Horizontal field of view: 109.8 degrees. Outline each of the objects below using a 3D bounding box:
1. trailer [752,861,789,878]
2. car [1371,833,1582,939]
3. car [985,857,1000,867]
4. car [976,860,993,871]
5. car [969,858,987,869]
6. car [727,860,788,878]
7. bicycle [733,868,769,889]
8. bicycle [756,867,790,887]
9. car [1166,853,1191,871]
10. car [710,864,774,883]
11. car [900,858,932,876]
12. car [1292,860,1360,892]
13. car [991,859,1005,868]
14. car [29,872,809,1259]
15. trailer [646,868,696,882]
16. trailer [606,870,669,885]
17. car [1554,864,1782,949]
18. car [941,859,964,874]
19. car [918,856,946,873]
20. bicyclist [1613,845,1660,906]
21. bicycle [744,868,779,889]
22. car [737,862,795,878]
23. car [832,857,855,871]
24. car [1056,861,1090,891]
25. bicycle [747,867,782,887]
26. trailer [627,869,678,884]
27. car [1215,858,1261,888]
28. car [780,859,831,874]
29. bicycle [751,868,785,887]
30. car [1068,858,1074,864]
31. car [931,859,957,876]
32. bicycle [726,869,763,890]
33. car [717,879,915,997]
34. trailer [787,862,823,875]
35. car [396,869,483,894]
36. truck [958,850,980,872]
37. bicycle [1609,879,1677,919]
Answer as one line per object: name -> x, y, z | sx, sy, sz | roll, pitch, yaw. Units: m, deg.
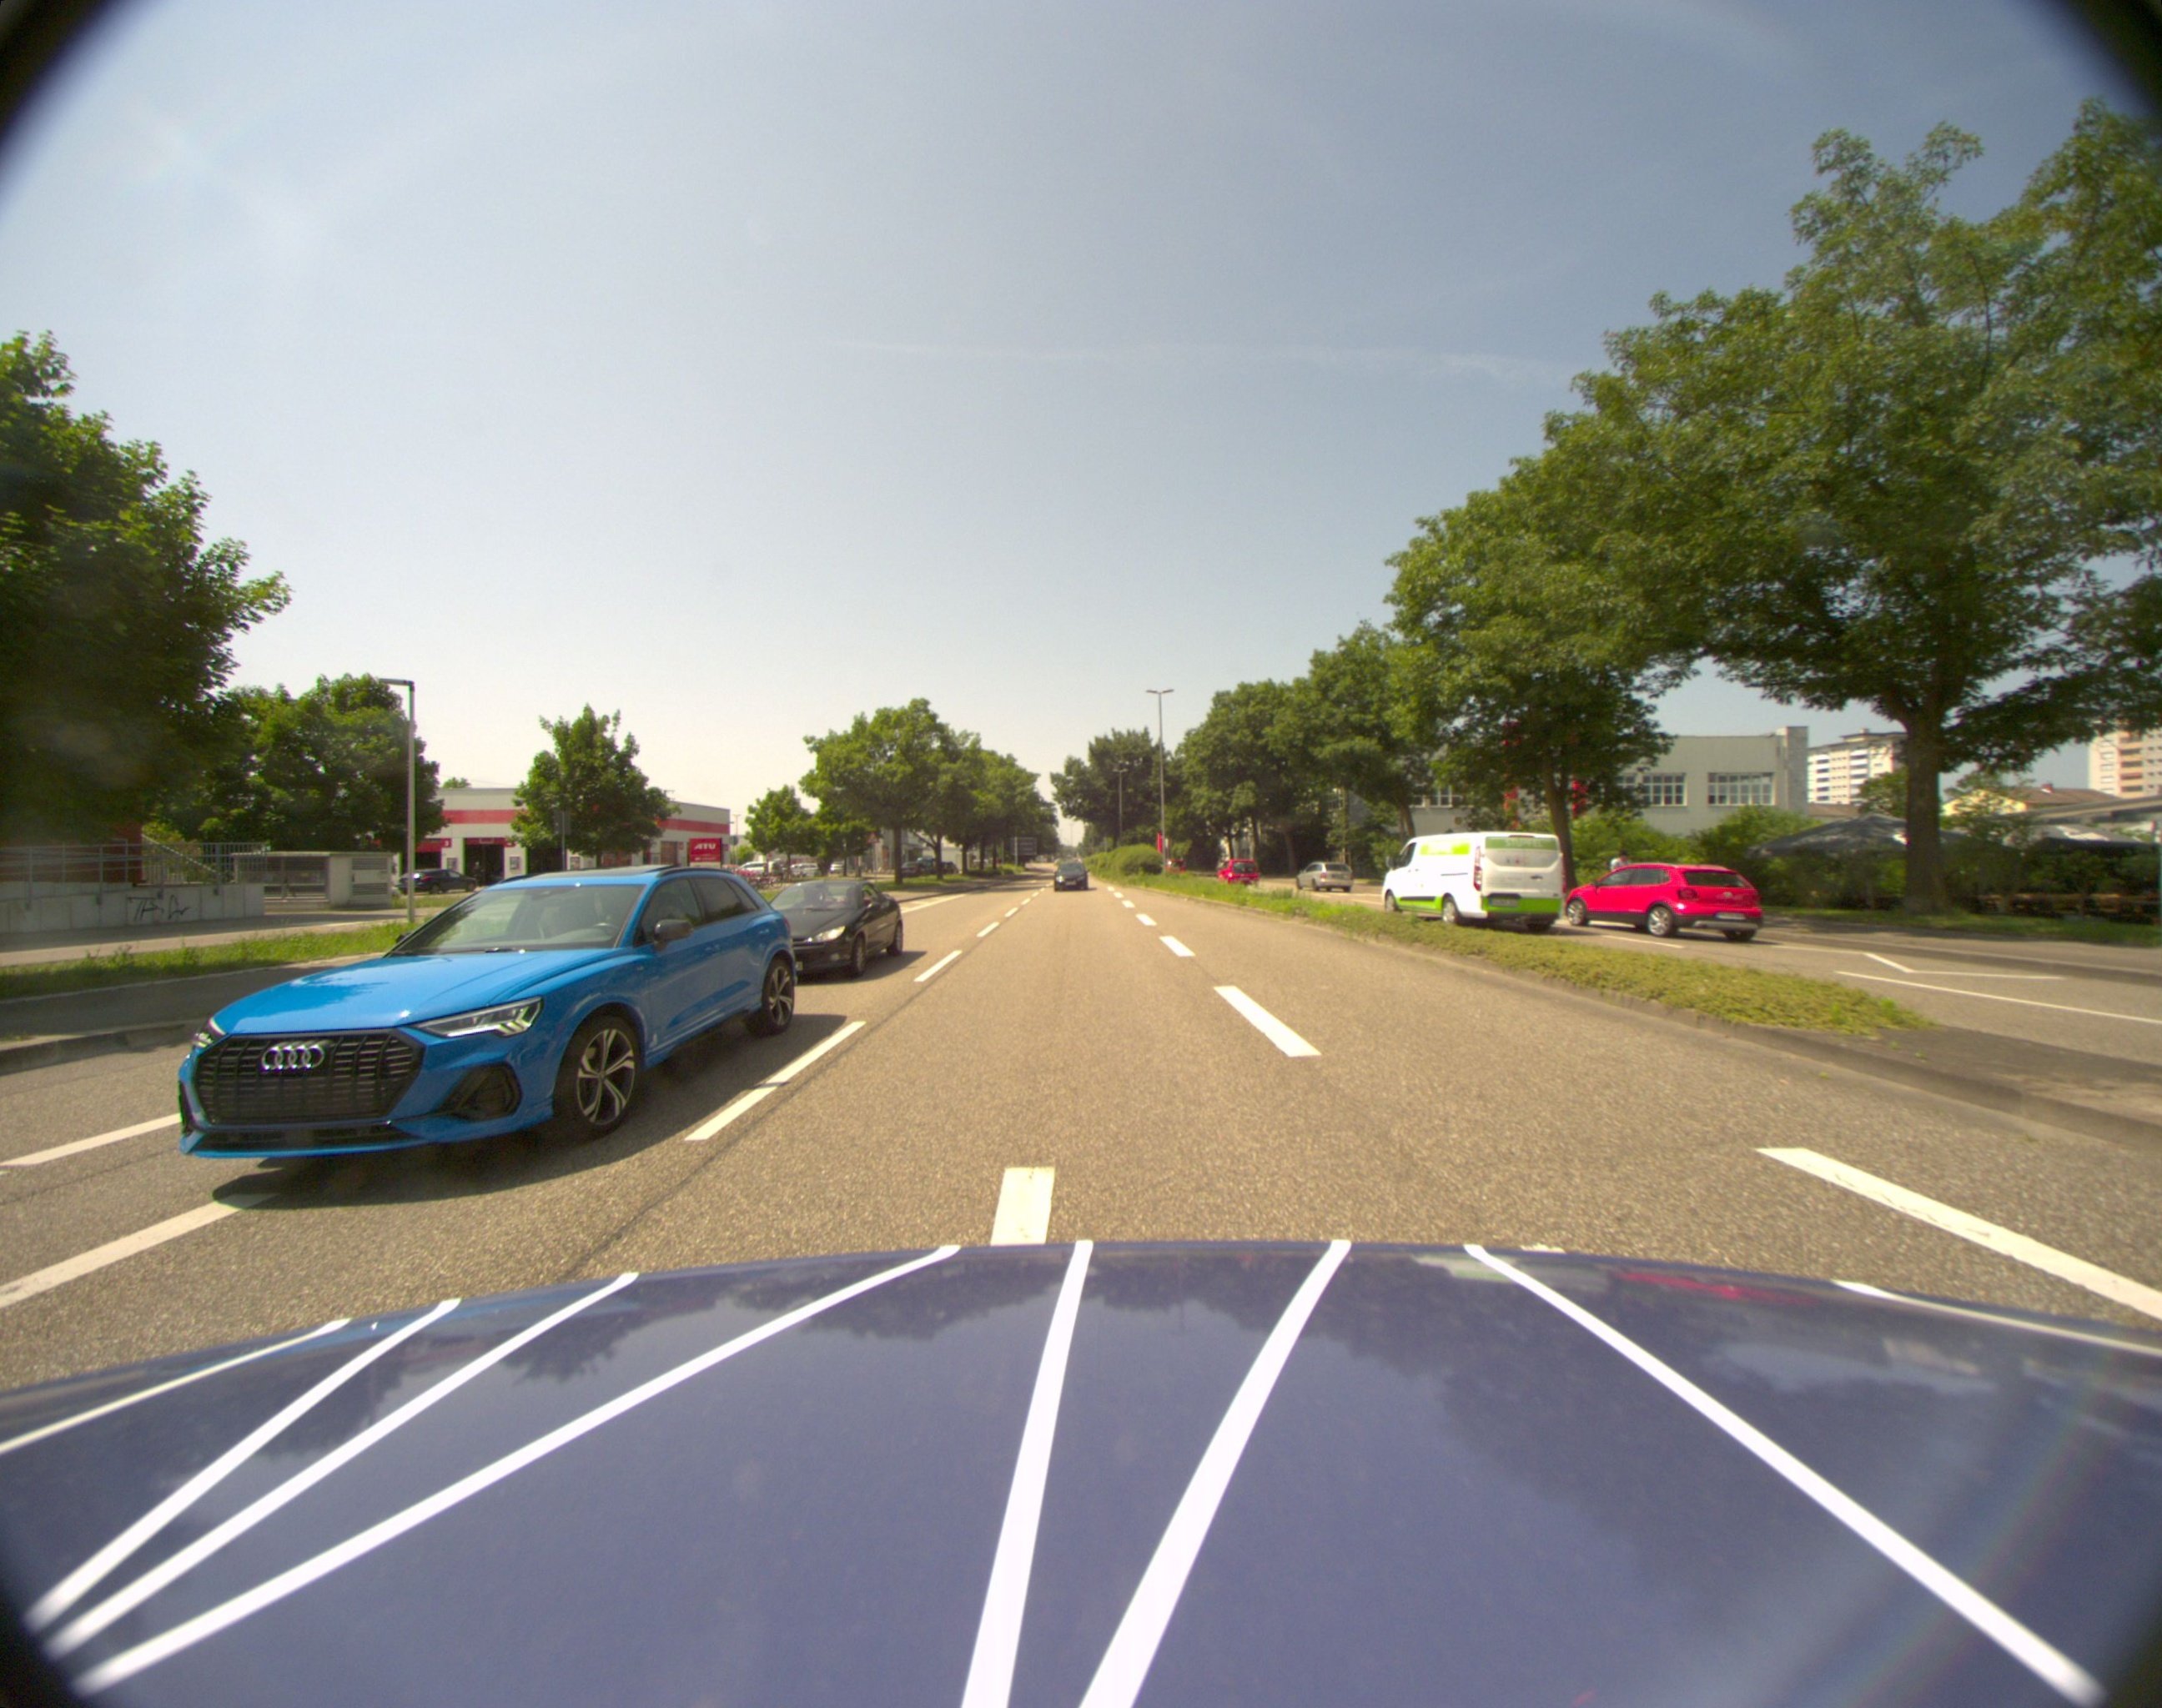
trailer -> -27.274, 1.352, 66.742 | 2.642, 1.518, 1.415 | 0, 0, -2
car -> 8.348, 0.612, 16.690 | 1.999, 1.934, 4.908 | 2, 0, -1
car -> -13.022, 1.186, 111.562 | 1.719, 1.458, 4.000 | 0, 0, 1
car -> -13.175, 1.542, 104.057 | 1.719, 1.458, 4.000 | 0, 0, 1
car -> -13.211, 1.212, 97.294 | 1.719, 1.458, 4.000 | 0, 0, 1
car -> -25.217, 1.152, 59.346 | 3.998, 1.394, 1.747 | 0, 0, -3
bicycle -> -18.423, 1.357, 42.432 | 1.784, 1.117, 0.514 | 0, 0, -6
bicycle -> -18.368, 1.363, 45.368 | 1.784, 1.117, 0.514 | 0, 0, -6
car -> 8.963, 0.757, 69.870 | 1.753, 1.560, 4.153 | 2, 0, 0
car -> -25.447, 1.452, 57.117 | 3.998, 1.394, 1.747 | 0, 0, -2
car -> -13.451, 1.045, 62.153 | 1.642, 1.363, 4.000 | 0, 0, 1
car -> 11.880, 1.024, 37.142 | 1.782, 1.395, 4.359 | 2, 0, -1
car -> -12.902, 1.481, 117.889 | 1.719, 1.458, 4.000 | 0, 0, 1
car -> -3.719, 0.988, 5.573 | 1.842, 1.586, 4.400 | -1, 0, 0
trailer -> -23.879, 1.215, 44.332 | 2.137, 0.757, 1.394 | -1, 0, 2
trailer -> -23.657, 1.250, 40.589 | 2.467, 0.757, 1.449 | -1, 0, 2
car -> 11.908, 0.984, 15.800 | 1.710, 1.444, 3.891 | 2, 0, 0
car -> -13.481, 1.262, 79.729 | 1.719, 1.504, 4.000 | 0, 0, 1
car -> -13.359, 0.910, 68.382 | 1.719, 1.458, 4.000 | 0, 0, 1
bicyclist -> 15.005, 0.572, 20.542 | 0.609, 1.621, 0.923 | 0, 1, 0
bicycle -> -18.150, 1.381, 43.178 | 1.784, 1.117, 0.514 | 0, 0, -6
car -> -25.538, 1.277, 61.715 | 3.998, 1.201, 1.747 | 0, 0, -3
car -> -27.334, 1.119, 87.440 | 1.759, 1.586, 3.998 | 0, 0, -7
car -> -0.395, 1.093, 38.594 | 1.642, 1.395, 4.000 | 0, 0, -1
bicycle -> -18.244, 1.346, 43.818 | 1.784, 1.117, 0.514 | 0, 0, -6
trailer -> -23.937, 1.242, 42.495 | 2.137, 0.757, 1.267 | -1, 0, 2
car -> 8.127, 0.954, 39.596 | 1.584, 1.432, 3.608 | 2, 0, -1
car -> -25.036, 1.157, 69.057 | 3.998, 1.293, 1.689 | 0, 0, -3
bicycle -> -18.334, 1.370, 44.537 | 1.784, 1.117, 0.514 | 0, 0, -6
car -> -3.144, 2.218, 235.281 | 1.999, 1.692, 4.000 | 0, 0, 0
car -> -13.260, 1.273, 73.554 | 1.719, 1.511, 4.000 | 0, 0, 1
bicycle -> -18.508, 1.373, 41.806 | 1.784, 1.117, 0.514 | 0, 0, -6
car -> -3.839, 1.148, 11.766 | 1.642, 1.336, 4.000 | -3, 0, 0
trailer -> -24.288, 1.282, 66.865 | 2.642, 1.046, 1.578 | 0, 0, -2
car -> -38.116, 1.620, 45.291 | 1.717, 1.364, 4.145 | 0, 0, 0
truck -> -13.453, 0.849, 91.459 | 1.904, 2.552, 4.001 | 0, 0, 2
bicycle -> 15.003, 1.178, 20.341 | 0.619, 0.963, 1.660 | 0, 0, 1
